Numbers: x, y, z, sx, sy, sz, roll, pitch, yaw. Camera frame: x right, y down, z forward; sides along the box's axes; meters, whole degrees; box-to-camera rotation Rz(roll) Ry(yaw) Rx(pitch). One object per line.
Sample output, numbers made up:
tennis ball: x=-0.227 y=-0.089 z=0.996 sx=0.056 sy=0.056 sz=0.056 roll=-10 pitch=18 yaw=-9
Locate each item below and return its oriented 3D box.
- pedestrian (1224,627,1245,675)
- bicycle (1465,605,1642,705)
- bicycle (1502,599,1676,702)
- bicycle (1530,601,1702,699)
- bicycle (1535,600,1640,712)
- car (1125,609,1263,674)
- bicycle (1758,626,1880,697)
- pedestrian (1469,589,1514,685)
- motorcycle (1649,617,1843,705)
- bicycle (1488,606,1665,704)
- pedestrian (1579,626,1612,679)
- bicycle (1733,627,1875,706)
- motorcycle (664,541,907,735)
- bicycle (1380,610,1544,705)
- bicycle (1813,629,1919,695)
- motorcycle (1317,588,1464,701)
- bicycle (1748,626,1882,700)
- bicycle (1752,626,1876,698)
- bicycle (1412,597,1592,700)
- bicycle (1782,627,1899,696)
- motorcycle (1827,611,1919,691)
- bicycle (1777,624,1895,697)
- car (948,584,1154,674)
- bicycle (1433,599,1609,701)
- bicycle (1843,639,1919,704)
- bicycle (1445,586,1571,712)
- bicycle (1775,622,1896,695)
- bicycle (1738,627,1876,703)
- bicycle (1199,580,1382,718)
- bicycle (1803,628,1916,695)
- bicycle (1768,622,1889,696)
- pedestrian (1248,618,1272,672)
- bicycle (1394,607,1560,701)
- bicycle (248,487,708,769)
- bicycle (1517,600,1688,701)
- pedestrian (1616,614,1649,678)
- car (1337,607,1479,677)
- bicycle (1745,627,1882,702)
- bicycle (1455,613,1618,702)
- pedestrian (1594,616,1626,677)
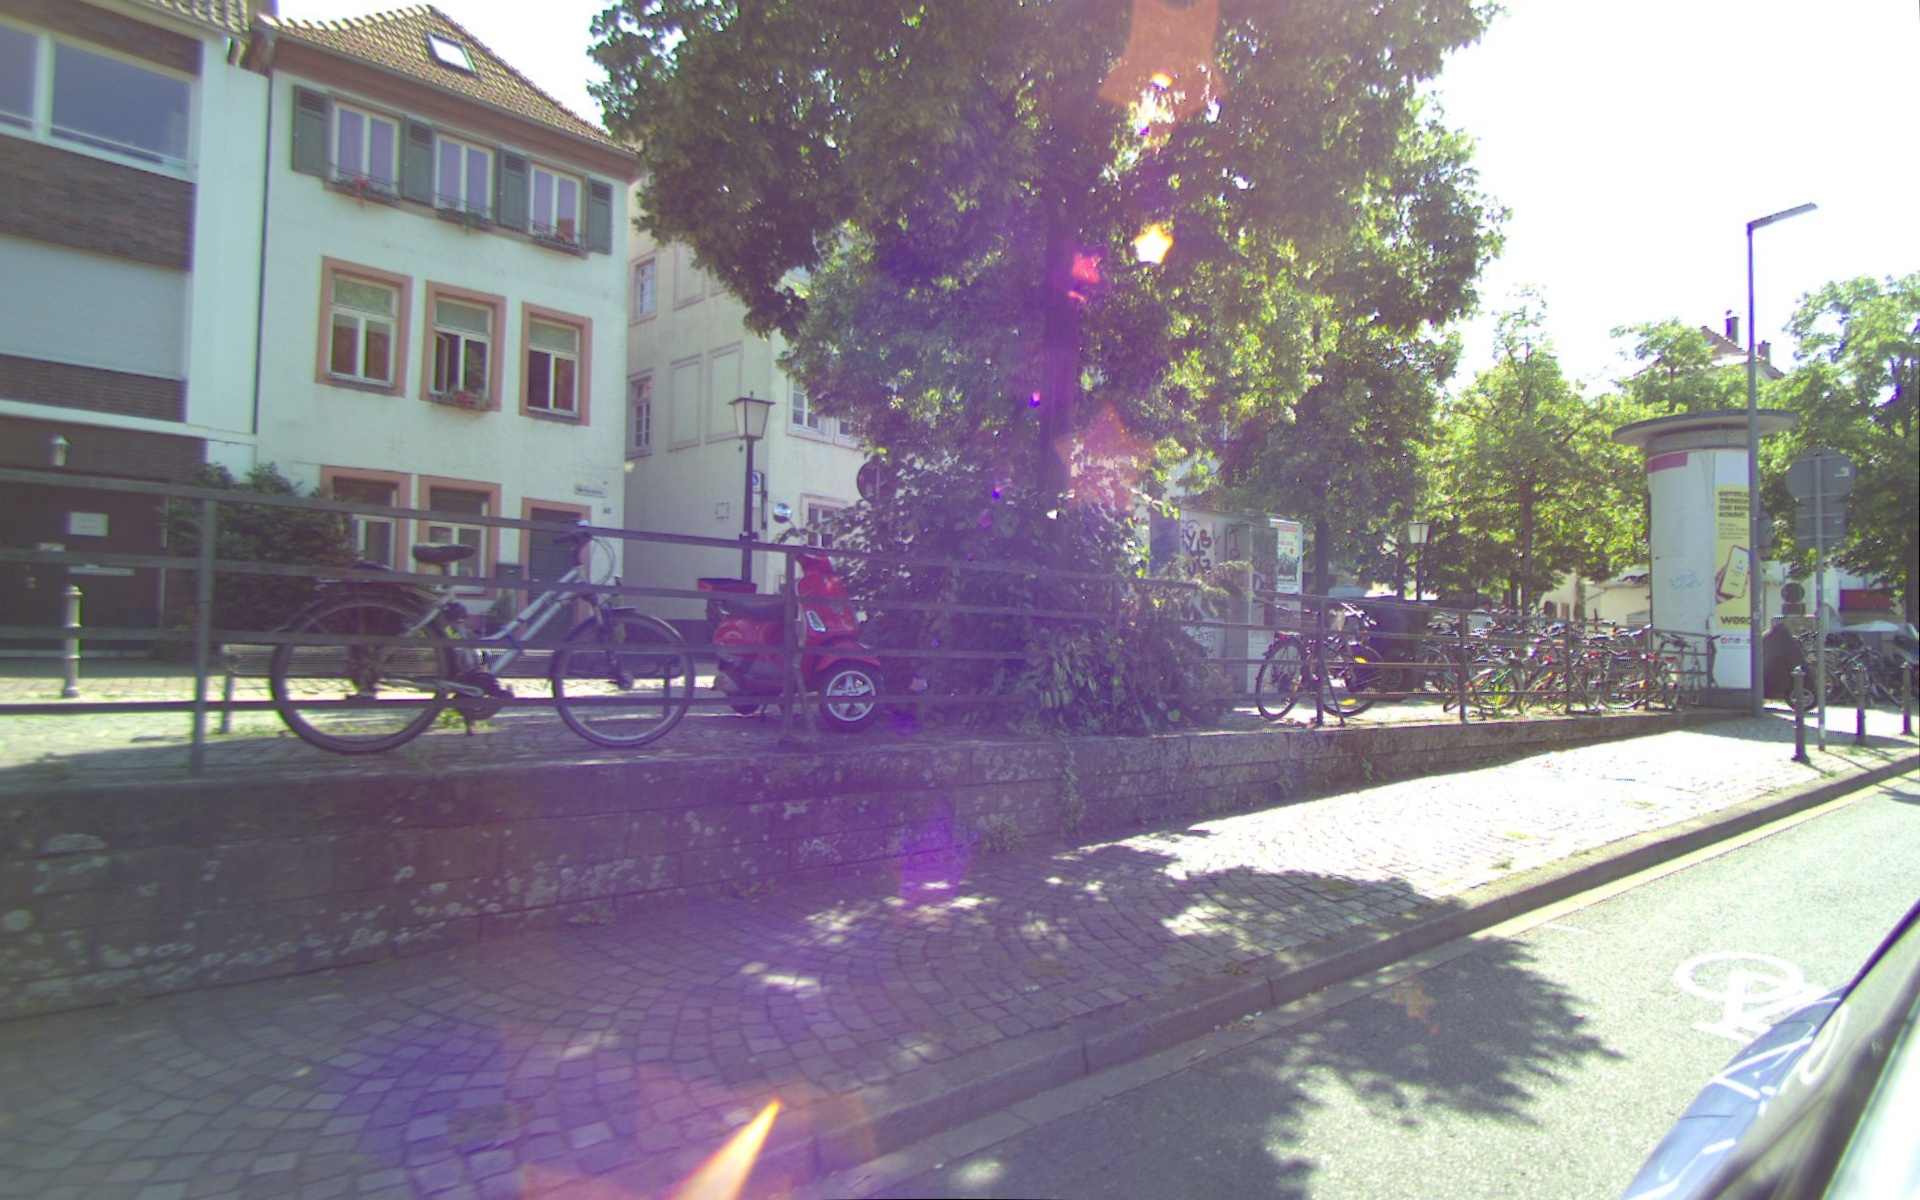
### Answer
pedestrian: x=8.660 y=1.611 z=31.926 sx=0.424 sy=1.495 sz=0.606 roll=0 pitch=-2 yaw=43
bicycle: x=8.528 y=0.752 z=14.639 sx=0.468 sy=1.278 sz=2.161 roll=2 pitch=0 yaw=-38
bicycle: x=9.385 y=0.718 z=15.196 sx=0.468 sy=1.385 sz=2.161 roll=2 pitch=0 yaw=-38
bicycle: x=10.198 y=0.736 z=15.828 sx=0.573 sy=1.385 sz=2.161 roll=2 pitch=0 yaw=-38
bicycle: x=7.842 y=0.669 z=12.610 sx=2.124 sy=1.278 sz=0.476 roll=1 pitch=0 yaw=-41
car: x=6.065 y=1.083 z=26.074 sx=3.495 sy=1.497 sz=1.588 roll=4 pitch=-3 yaw=-38
bicycle: x=15.621 y=1.098 z=18.431 sx=0.406 sy=1.147 sz=1.630 roll=2 pitch=0 yaw=-42
pedestrian: x=9.934 y=0.687 z=18.906 sx=0.492 sy=1.768 sz=0.541 roll=2 pitch=-3 yaw=-36
motorcycle: x=12.541 y=0.926 z=16.295 sx=0.709 sy=1.291 sz=2.542 roll=1 pitch=-1 yaw=-15
bicycle: x=8.989 y=0.764 z=14.856 sx=0.468 sy=1.278 sz=2.161 roll=2 pitch=0 yaw=-38
pedestrian: x=15.645 y=1.290 z=24.923 sx=0.568 sy=1.280 sz=0.494 roll=2 pitch=-2 yaw=-33
bicycle: x=14.110 y=1.083 z=16.956 sx=0.531 sy=1.147 sz=1.750 roll=2 pitch=0 yaw=-44
motorcycle: x=-1.212 y=0.207 z=6.706 sx=1.915 sy=1.112 sz=0.566 roll=1 pitch=0 yaw=45
bicycle: x=6.620 y=0.719 z=13.451 sx=0.415 sy=1.114 sz=1.955 roll=2 pitch=0 yaw=-38
bicycle: x=17.740 y=1.189 z=19.790 sx=0.359 sy=1.185 sz=1.636 roll=2 pitch=0 yaw=-20
motorcycle: x=5.496 y=0.520 z=13.098 sx=0.635 sy=1.329 sz=2.166 roll=2 pitch=0 yaw=-10
bicycle: x=15.105 y=1.086 z=17.918 sx=0.456 sy=1.147 sz=1.751 roll=2 pitch=0 yaw=-42
bicycle: x=15.294 y=1.093 z=18.159 sx=0.406 sy=1.147 sz=1.630 roll=2 pitch=0 yaw=-42
bicycle: x=7.431 y=0.622 z=13.991 sx=0.468 sy=1.278 sz=2.161 roll=2 pitch=0 yaw=-38
bicycle: x=16.846 y=1.155 z=19.398 sx=0.344 sy=1.184 sz=1.630 roll=2 pitch=0 yaw=-42
motorcycle: x=18.840 y=0.995 z=20.375 sx=0.783 sy=1.547 sz=2.202 roll=1 pitch=-1 yaw=-2
bicycle: x=16.606 y=1.126 z=19.221 sx=0.406 sy=1.232 sz=1.630 roll=2 pitch=0 yaw=-42
car: x=2.154 y=0.711 z=23.088 sx=4.648 sy=1.824 sz=1.836 roll=4 pitch=-3 yaw=-38
bicycle: x=7.823 y=0.655 z=14.226 sx=0.413 sy=1.278 sz=2.161 roll=2 pitch=0 yaw=-38
bicycle: x=15.552 y=1.183 z=16.955 sx=1.718 sy=1.021 sz=0.541 roll=2 pitch=-1 yaw=-27
bicycle: x=6.112 y=0.521 z=11.228 sx=2.124 sy=1.278 sz=0.476 roll=1 pitch=0 yaw=-41
bicycle: x=16.321 y=1.064 z=18.897 sx=0.406 sy=1.232 sz=1.630 roll=2 pitch=0 yaw=-42
bicycle: x=14.493 y=1.090 z=17.357 sx=0.456 sy=1.147 sz=1.751 roll=2 pitch=0 yaw=-42
bicycle: x=2.853 y=0.421 z=8.584 sx=2.122 sy=1.062 sz=0.301 roll=3 pitch=-1 yaw=-38
bicycle: x=17.458 y=1.168 z=19.684 sx=0.416 sy=1.185 sz=1.636 roll=2 pitch=0 yaw=-20
bicycle: x=15.985 y=1.063 z=18.656 sx=0.406 sy=1.232 sz=1.630 roll=2 pitch=0 yaw=-42
pedestrian: x=9.323 y=1.387 z=31.411 sx=0.616 sy=1.633 sz=0.425 roll=2 pitch=-2 yaw=-38
bicycle: x=6.973 y=0.700 z=13.748 sx=0.468 sy=1.126 sz=1.967 roll=2 pitch=0 yaw=-38
bicycle: x=-2.154 y=0.128 z=4.725 sx=1.882 sy=1.127 sz=0.345 roll=1 pitch=-1 yaw=-35
bicycle: x=9.778 y=0.726 z=15.500 sx=0.468 sy=1.385 sz=2.161 roll=2 pitch=0 yaw=-38
pedestrian: x=16.526 y=1.118 z=24.864 sx=0.655 sy=1.527 sz=0.493 roll=2 pitch=-2 yaw=-39
car: x=12.886 y=1.273 z=29.008 sx=4.378 sy=1.815 sz=1.838 roll=4 pitch=-6 yaw=-38
bicycle: x=14.813 y=1.088 z=17.601 sx=0.456 sy=1.147 sz=1.751 roll=2 pitch=0 yaw=-42
bicycle: x=8.159 y=0.782 z=14.422 sx=0.332 sy=1.106 sz=2.029 roll=2 pitch=0 yaw=-38
pedestrian: x=16.197 y=1.149 z=25.214 sx=0.568 sy=1.479 sz=0.494 roll=2 pitch=-2 yaw=-33
